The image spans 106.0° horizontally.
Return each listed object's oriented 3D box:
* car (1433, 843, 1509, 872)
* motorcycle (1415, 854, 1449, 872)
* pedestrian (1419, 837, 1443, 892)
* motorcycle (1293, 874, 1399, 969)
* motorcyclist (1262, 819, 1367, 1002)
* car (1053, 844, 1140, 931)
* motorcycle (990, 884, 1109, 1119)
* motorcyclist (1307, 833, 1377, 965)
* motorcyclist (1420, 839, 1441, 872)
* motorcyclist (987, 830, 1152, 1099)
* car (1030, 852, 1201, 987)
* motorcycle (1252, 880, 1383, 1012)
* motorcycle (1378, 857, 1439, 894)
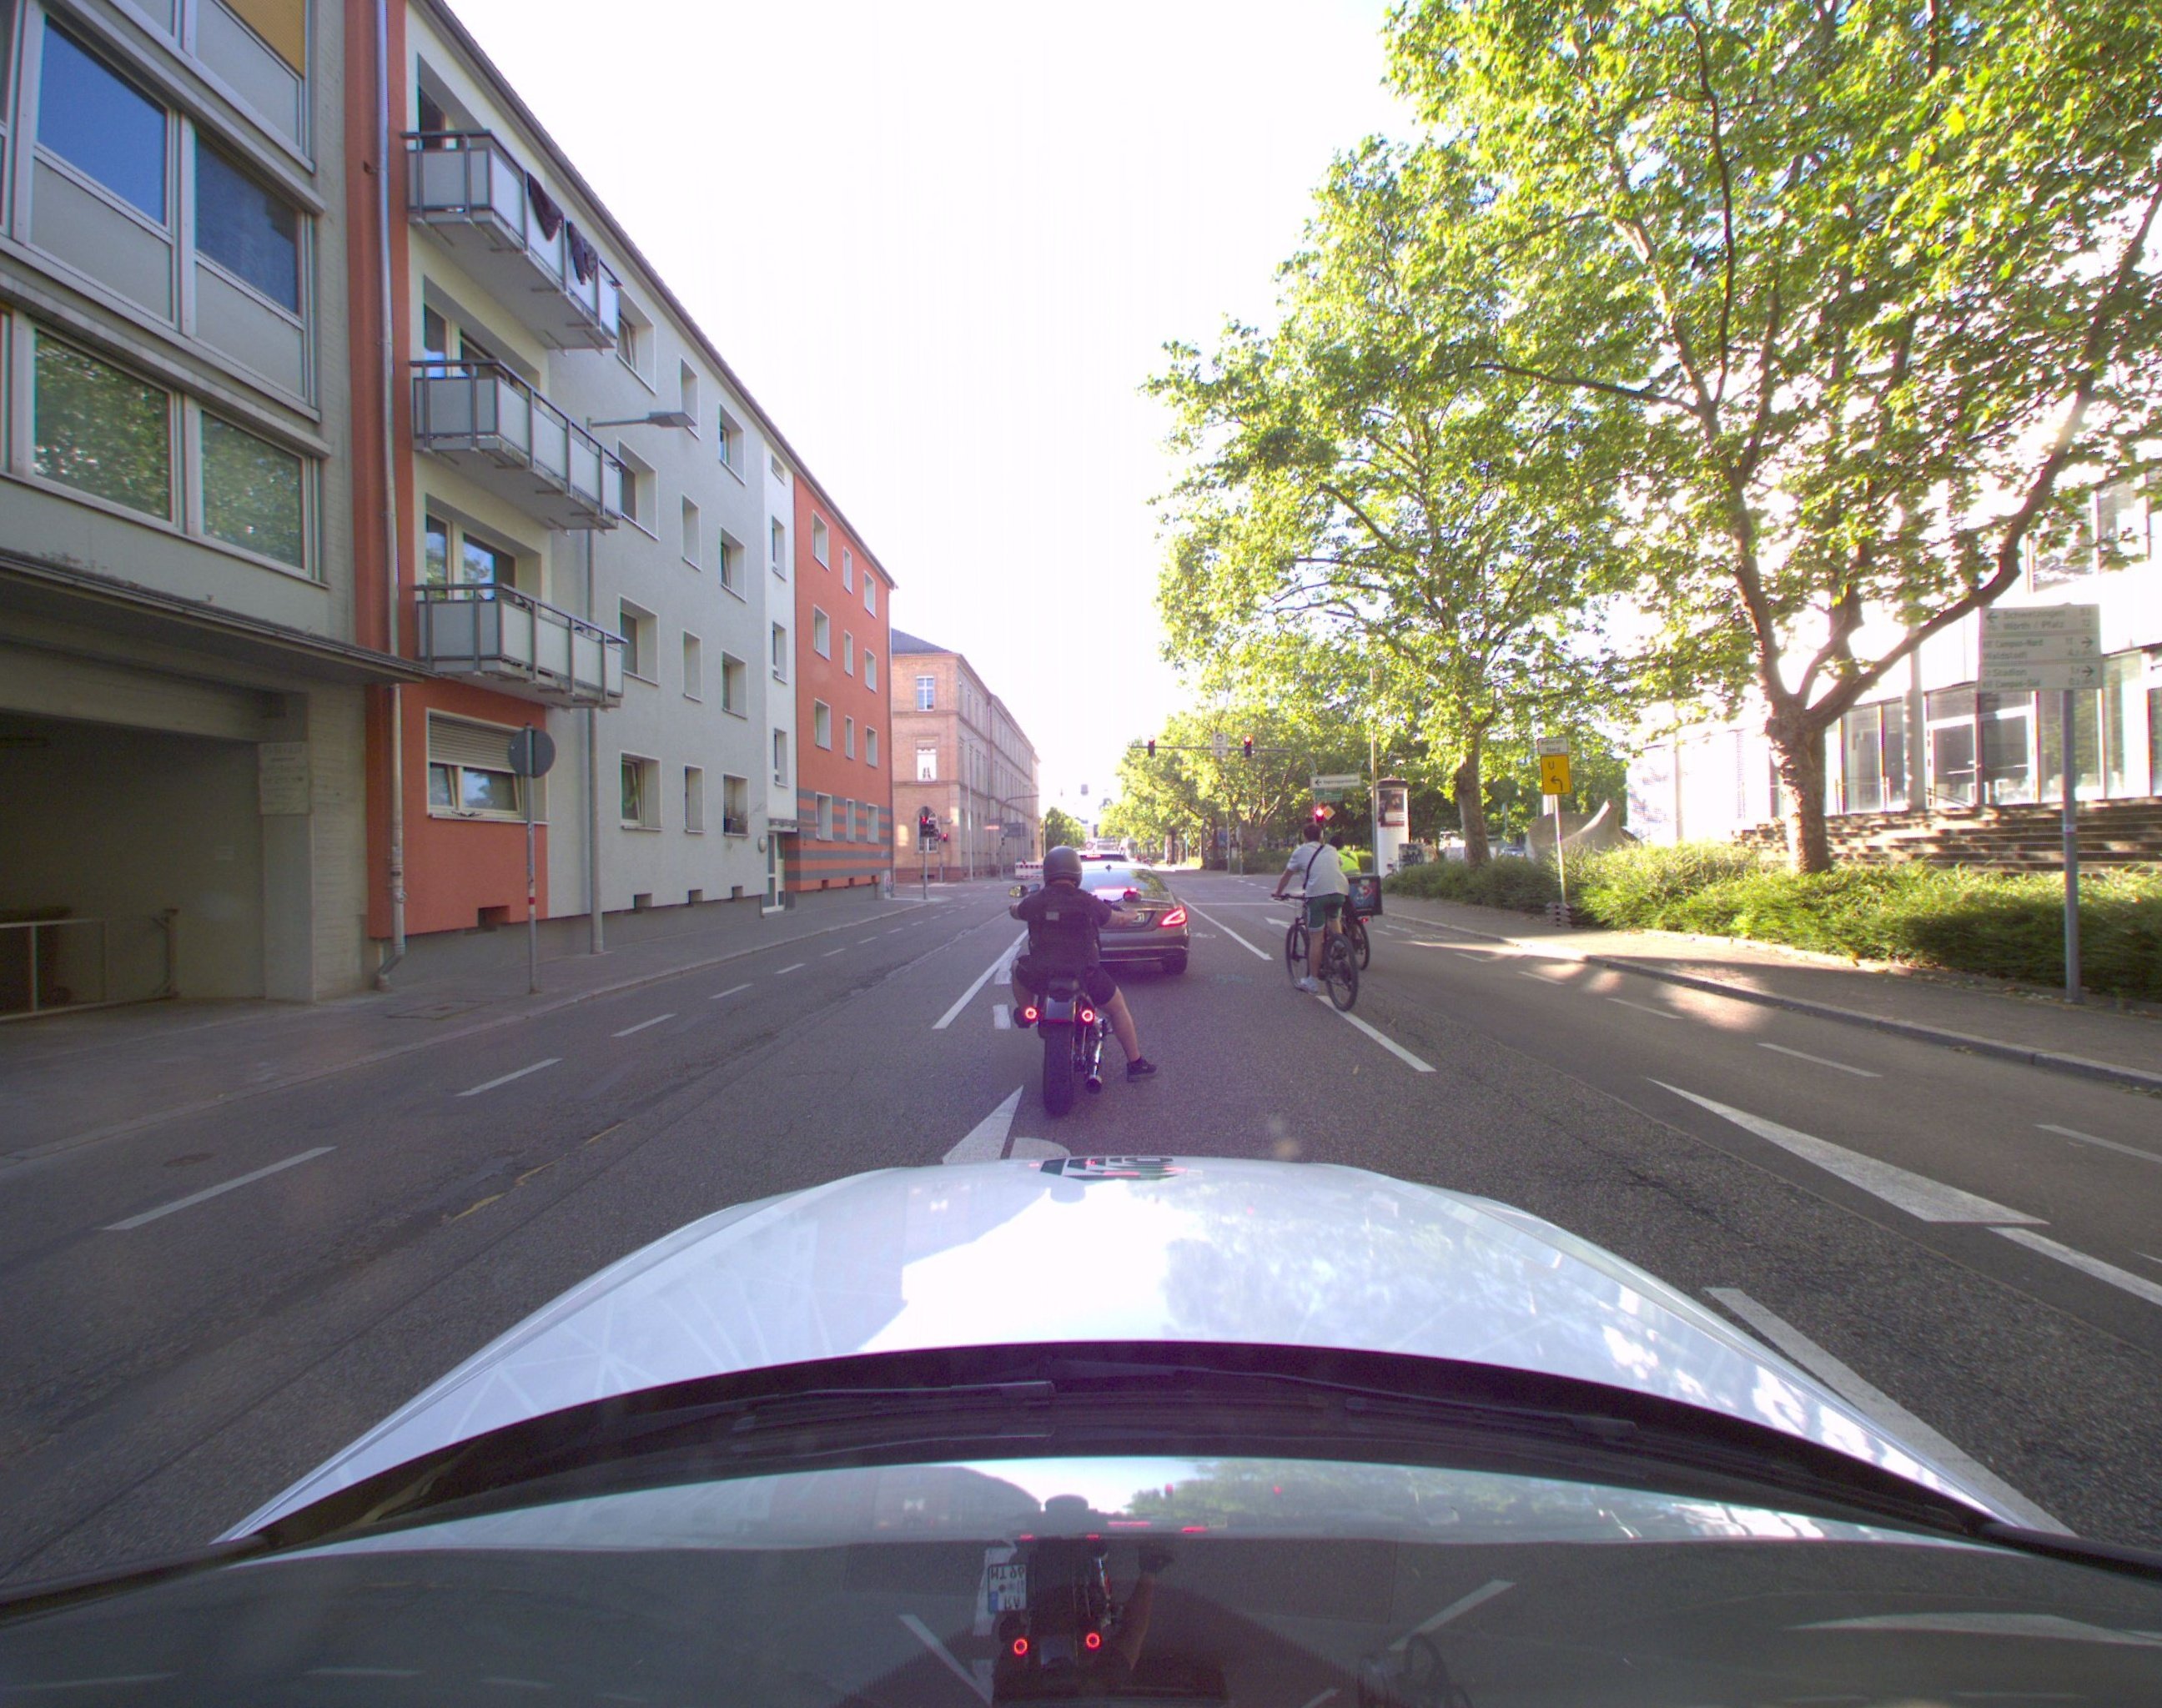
[{"bbox_3d":[24.632,0.214,51.541,3.974,1.772,1.738,-1,0,-1],"label":"car"},{"bbox_3d":[20.294,0.540,47.085,1.710,1.002,0.416,-1,0,6],"label":"motorcycle"},{"bbox_3d":[11.842,0.366,27.556,0.641,1.827,0.671,-1,0,27],"label":"pedestrian"},{"bbox_3d":[3.590,0.871,11.252,0.794,1.131,2.237,0,-1,2],"label":"motorcycle"},{"bbox_3d":[2.392,0.559,8.445,0.828,1.788,0.913,0,-1,1],"label":"motorcyclist"},{"bbox_3d":[0.367,0.665,17.560,1.645,1.652,4.002,0,-1,2],"label":"car"},{"bbox_3d":[-0.142,0.861,5.561,0.657,1.240,2.058,0,-1,2],"label":"motorcycle"},{"bbox_3d":[3.553,0.595,11.130,0.714,1.743,0.751,0,-1,1],"label":"motorcyclist"},{"bbox_3d":[20.203,0.103,47.105,0.978,1.876,0.377,-1,-1,6],"label":"motorcyclist"},{"bbox_3d":[-0.054,0.671,5.468,0.986,1.611,1.121,0,-1,1],"label":"motorcyclist"},{"bbox_3d":[0.261,0.746,11.264,1.821,1.486,4.325,0,0,-5],"label":"car"},{"bbox_3d":[2.393,0.886,8.518,0.859,1.168,1.930,0,-1,2],"label":"motorcycle"},{"bbox_3d":[11.072,0.716,27.563,1.771,1.243,0.724,0,-1,7],"label":"motorcycle"}]
